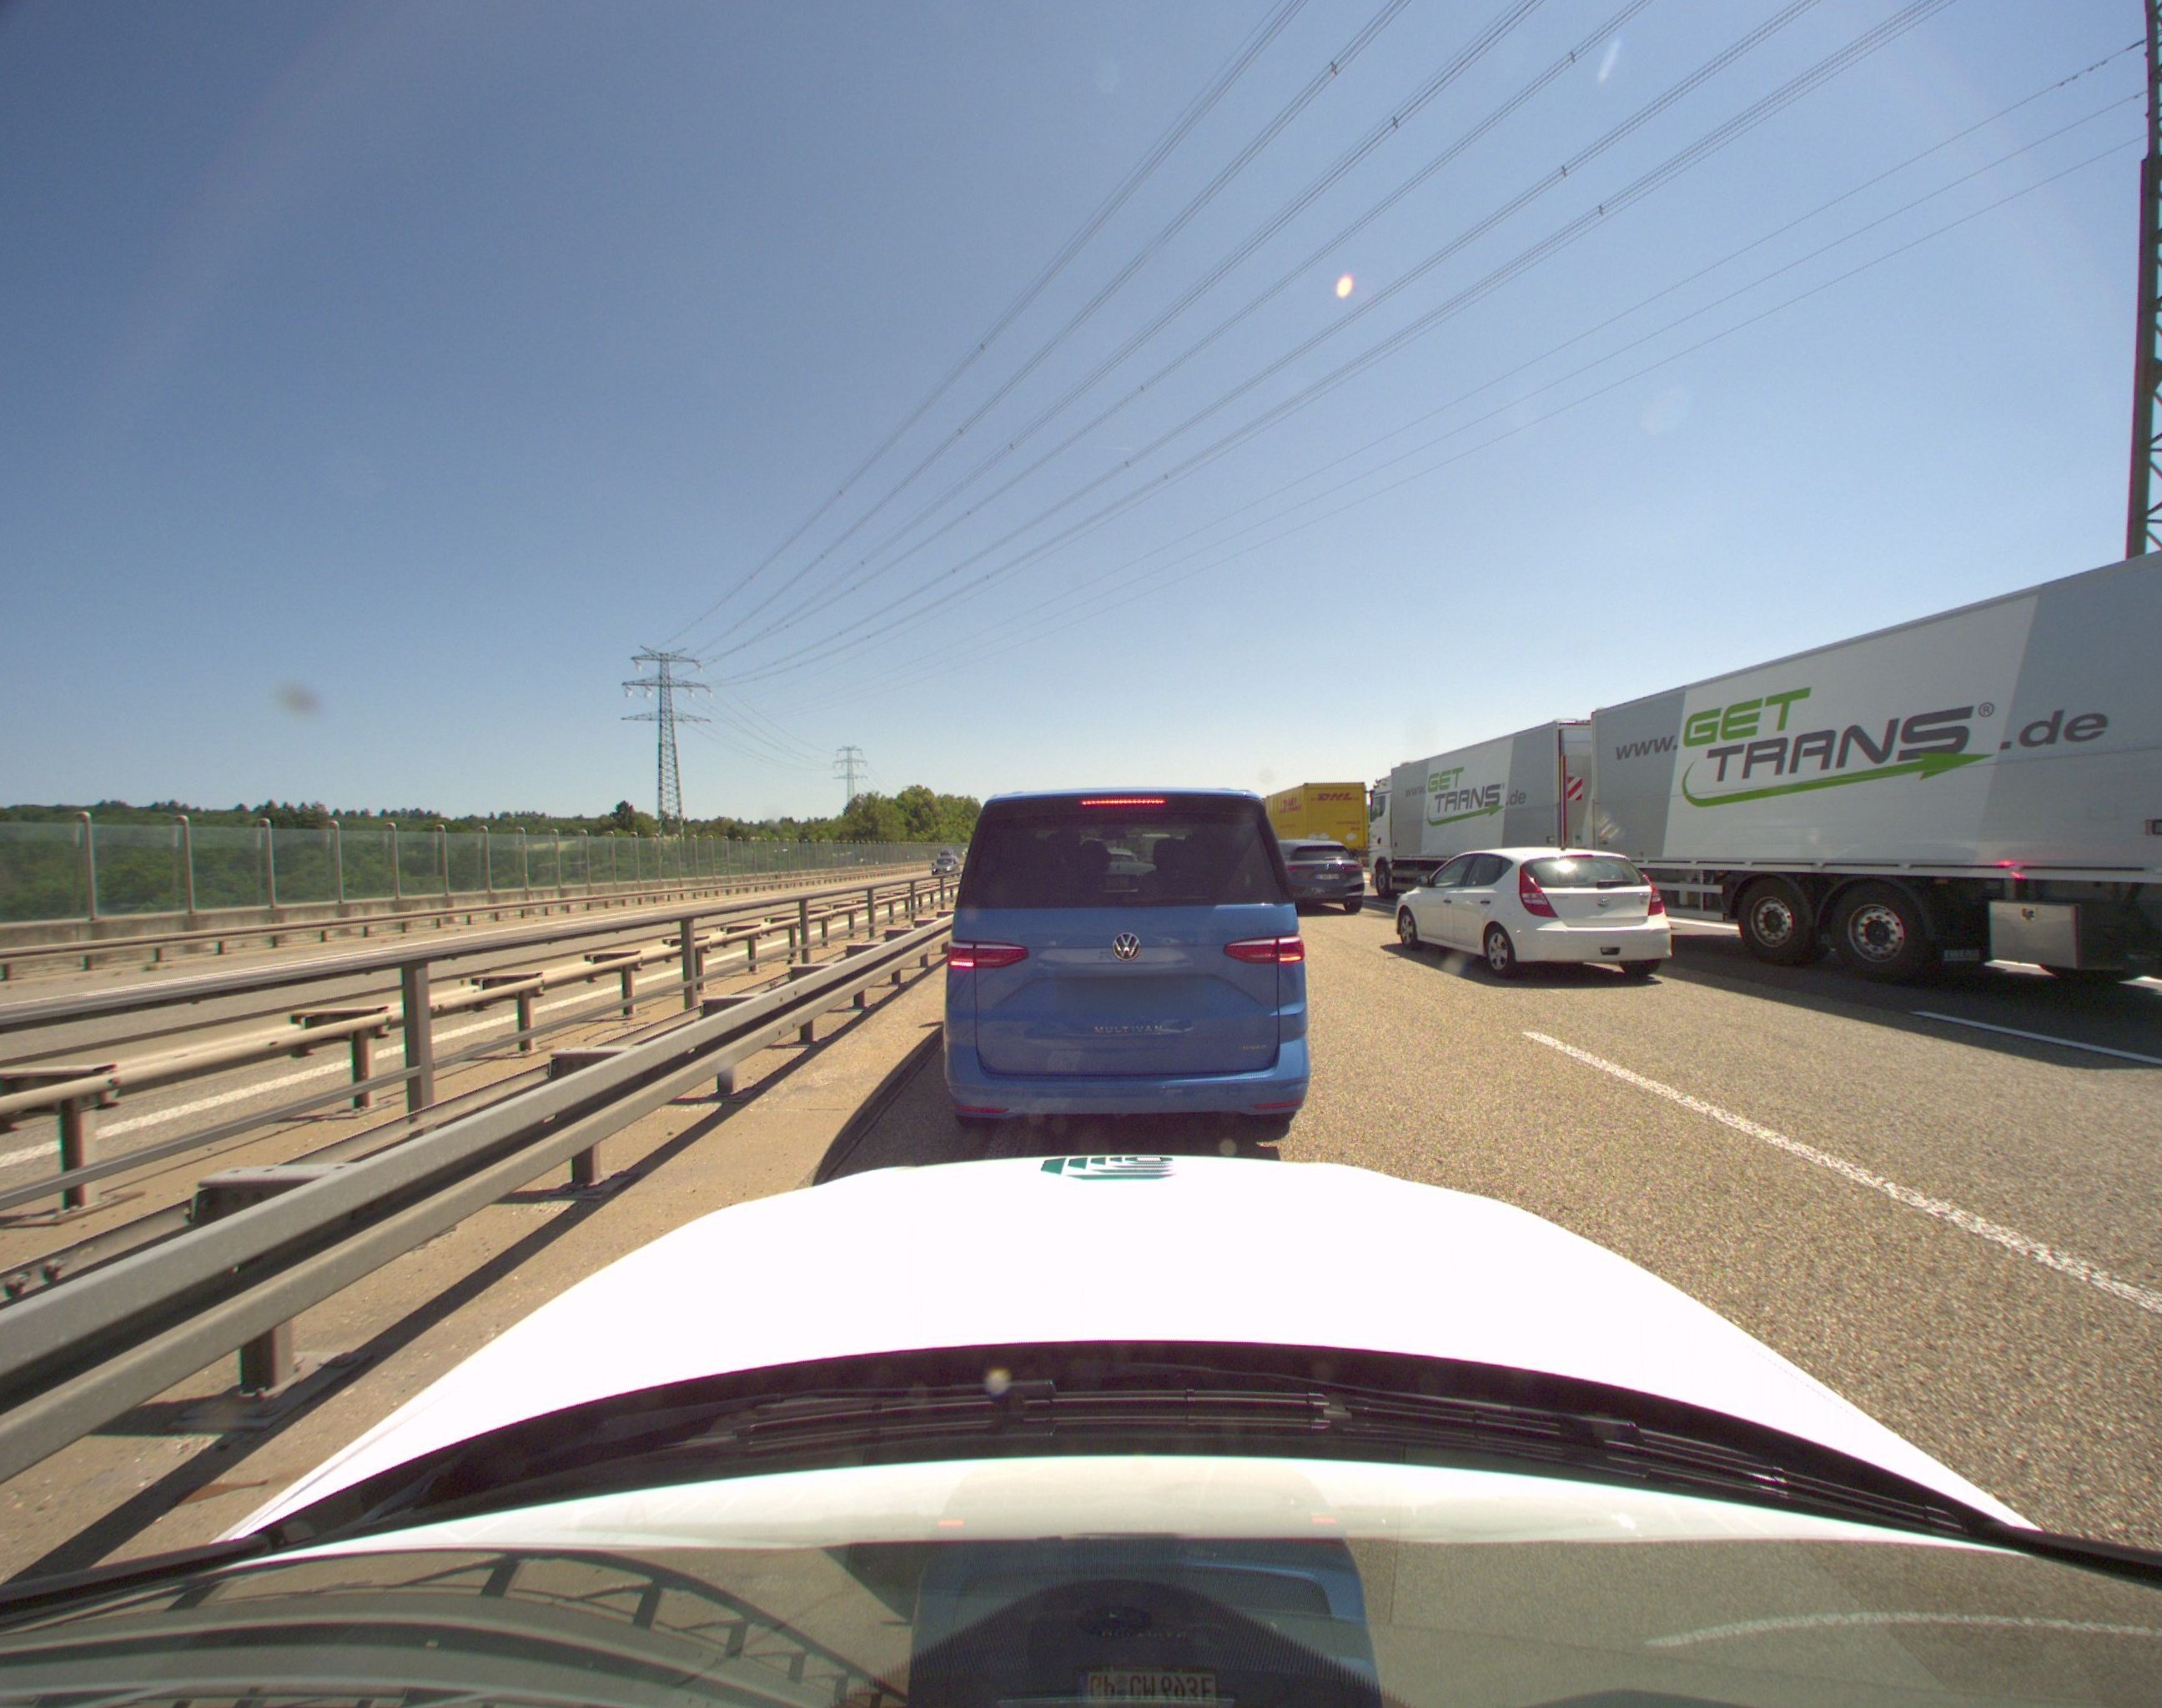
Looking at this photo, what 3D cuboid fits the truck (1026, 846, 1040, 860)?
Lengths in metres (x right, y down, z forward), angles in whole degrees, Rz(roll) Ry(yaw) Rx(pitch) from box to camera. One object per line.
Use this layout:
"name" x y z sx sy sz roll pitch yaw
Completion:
"truck" -11.654 -0.316 197.646 2.510 3.110 8.724 -5 0 1

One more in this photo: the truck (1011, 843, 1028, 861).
"truck" -11.852 -0.376 158.212 2.488 3.365 5.836 -4 0 2

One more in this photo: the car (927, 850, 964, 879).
"car" -10.927 0.815 66.012 1.986 2.215 4.269 -4 0 1

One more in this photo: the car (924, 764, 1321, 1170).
"car" 0.258 0.523 5.796 1.813 1.857 4.076 -1 0 2

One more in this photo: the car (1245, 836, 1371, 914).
"car" 5.362 0.454 19.811 1.954 1.644 4.295 -1 0 2

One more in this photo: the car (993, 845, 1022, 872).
"car" -6.352 0.363 70.702 1.856 2.131 4.271 -4 0 2

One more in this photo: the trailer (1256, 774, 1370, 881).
"trailer" 10.259 -1.043 37.116 2.854 4.239 9.015 -1 0 2

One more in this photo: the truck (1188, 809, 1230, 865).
"truck" 10.798 -1.359 69.189 2.657 4.484 6.853 -1 0 2

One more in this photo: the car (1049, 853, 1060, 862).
"car" -4.773 0.590 145.345 1.613 1.464 3.703 -3 0 2

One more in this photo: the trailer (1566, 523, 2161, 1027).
"trailer" 9.376 -0.623 9.570 2.688 3.700 8.017 -1 0 1

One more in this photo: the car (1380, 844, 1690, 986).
"car" 5.577 0.634 10.742 1.782 1.455 4.295 -1 0 2

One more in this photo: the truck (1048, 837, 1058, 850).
"truck" -8.192 -3.087 240.599 2.553 3.359 8.863 -3 0 0

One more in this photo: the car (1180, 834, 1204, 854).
"car" 11.126 -0.971 82.090 1.986 2.013 4.002 -1 0 2

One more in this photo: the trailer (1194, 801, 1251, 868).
"trailer" 10.511 -1.362 61.563 2.627 4.516 11.306 -1 0 2

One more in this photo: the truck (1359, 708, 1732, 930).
"truck" 9.617 -0.609 19.088 2.647 3.648 11.014 -1 0 1

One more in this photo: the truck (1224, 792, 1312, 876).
"truck" 10.516 -1.032 47.113 2.826 4.242 11.014 -1 0 1

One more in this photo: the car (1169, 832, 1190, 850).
"car" 11.637 -1.501 96.182 1.986 2.013 4.463 -2 0 2

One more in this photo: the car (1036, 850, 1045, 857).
"car" -11.945 -0.164 242.137 2.074 2.149 4.314 -3 0 2

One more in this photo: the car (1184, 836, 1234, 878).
"car" 6.475 0.157 41.594 1.954 1.993 4.295 -1 0 2

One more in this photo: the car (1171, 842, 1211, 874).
"car" 6.687 0.240 49.993 1.986 1.816 4.002 -1 0 2
